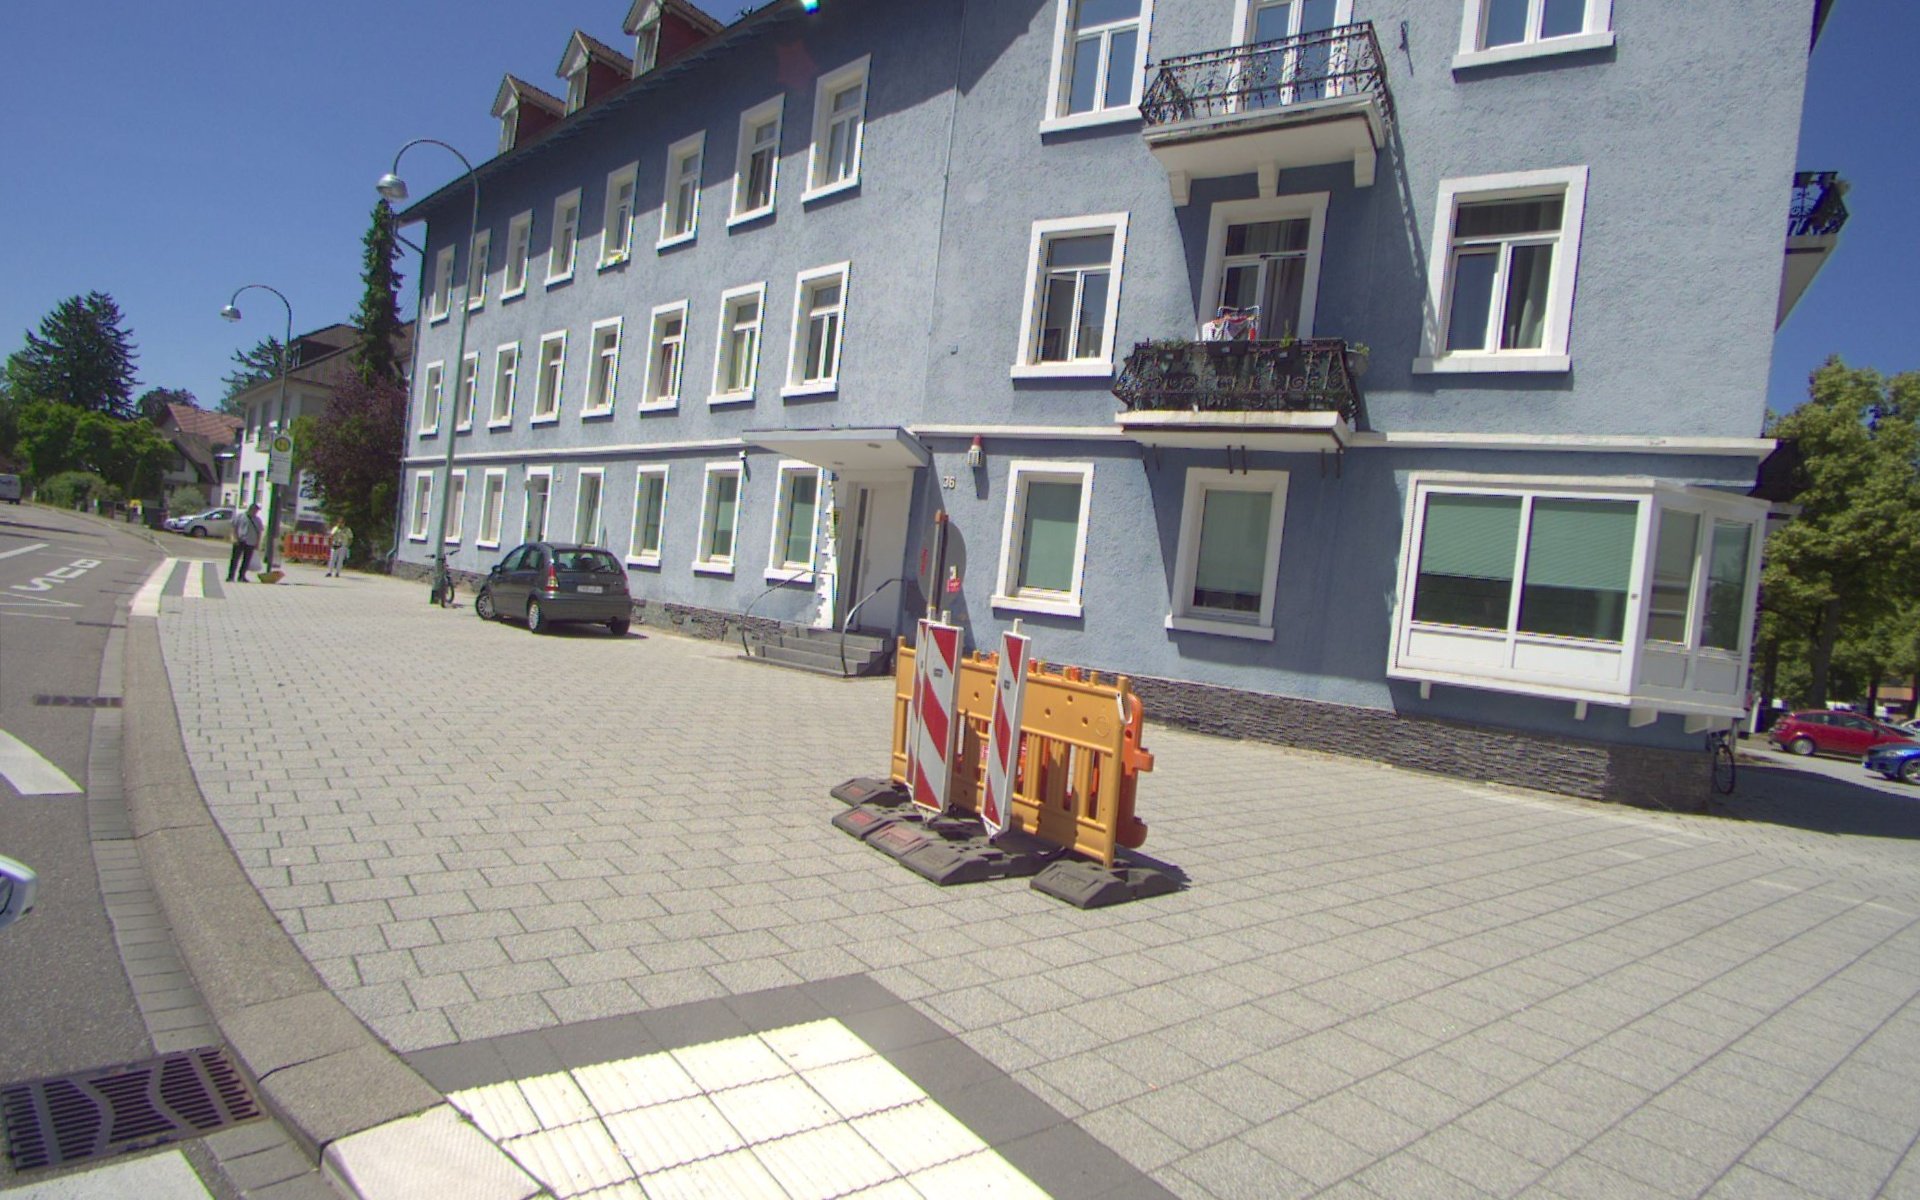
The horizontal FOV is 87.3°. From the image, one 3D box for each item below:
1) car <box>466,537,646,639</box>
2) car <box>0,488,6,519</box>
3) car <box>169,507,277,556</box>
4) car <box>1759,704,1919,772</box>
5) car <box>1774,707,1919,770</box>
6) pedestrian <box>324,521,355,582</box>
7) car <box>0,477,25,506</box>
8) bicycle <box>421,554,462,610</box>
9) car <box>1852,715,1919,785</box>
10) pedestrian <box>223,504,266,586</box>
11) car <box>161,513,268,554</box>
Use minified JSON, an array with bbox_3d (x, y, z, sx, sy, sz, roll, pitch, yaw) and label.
[{"bbox_3d":[-7.333,-0.255,18.096,1.750,1.534,3.695,2,3,-43],"label":"car"},{"bbox_3d":[-50.692,-5.060,51.737,1.842,1.638,4.251,4,2,-38],"label":"car"},{"bbox_3d":[-40.502,-3.733,55.373,1.713,1.851,4.295,8,-3,37],"label":"car"},{"bbox_3d":[28.394,4.406,32.104,4.177,1.439,1.759,8,0,32],"label":"car"},{"bbox_3d":[30.493,4.708,34.071,4.177,1.439,1.759,8,0,32],"label":"car"},{"bbox_3d":[-17.415,-1.359,28.225,0.608,1.637,0.745,4,2,-28],"label":"pedestrian"},{"bbox_3d":[-86.477,-9.892,90.717,4.777,2.346,2.142,7,2,36],"label":"car"},{"bbox_3d":[-10.698,-0.395,20.798,0.625,1.053,1.871,3,2,-25],"label":"bicycle"},{"bbox_3d":[23.724,3.748,23.325,4.177,1.439,1.759,8,0,32],"label":"car"},{"bbox_3d":[-16.555,-1.277,23.268,0.740,1.830,0.612,6,4,41],"label":"pedestrian"},{"bbox_3d":[-42.406,-3.787,57.269,4.632,1.424,1.747,11,-3,-44],"label":"car"}]
